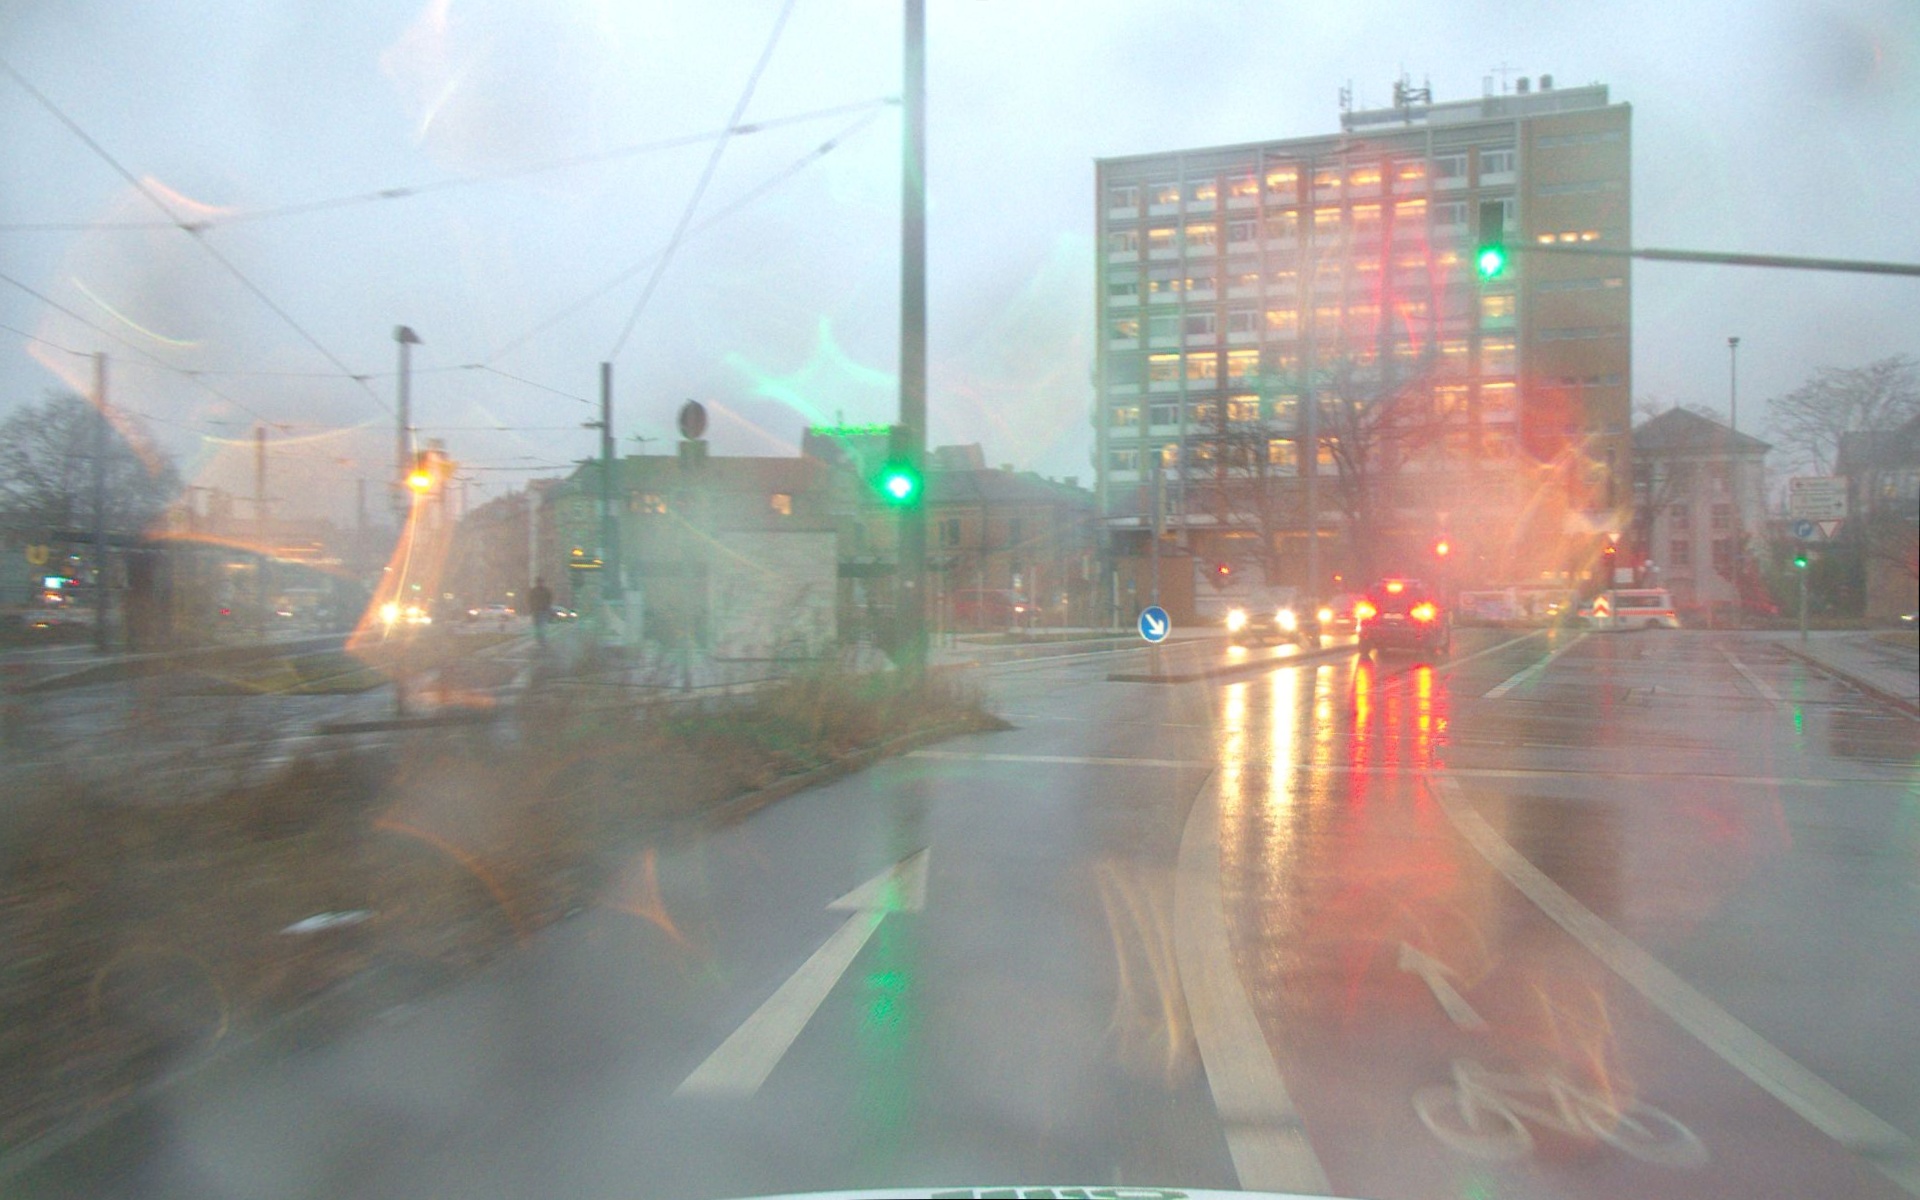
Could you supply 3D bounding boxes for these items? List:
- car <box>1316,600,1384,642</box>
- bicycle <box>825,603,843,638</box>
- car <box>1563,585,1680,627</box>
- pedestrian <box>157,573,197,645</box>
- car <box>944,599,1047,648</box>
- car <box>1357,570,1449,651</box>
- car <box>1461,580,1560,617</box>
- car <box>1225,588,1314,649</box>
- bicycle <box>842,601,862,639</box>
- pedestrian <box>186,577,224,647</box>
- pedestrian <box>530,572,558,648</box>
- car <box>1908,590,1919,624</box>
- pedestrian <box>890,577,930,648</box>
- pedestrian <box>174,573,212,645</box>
[{"bbox_3d":[14.175,0.747,59.985,1.711,1.402,4.366,-1,0,22],"label":"car"},{"bbox_3d":[-4.507,0.732,58.927,0.538,1.185,1.896,2,-1,-6],"label":"bicycle"},{"bbox_3d":[33.227,0.287,83.151,5.074,1.946,1.990,1,0,39],"label":"car"},{"bbox_3d":[-19.791,0.221,41.823,0.699,1.788,0.715,1,-1,-11],"label":"pedestrian"},{"bbox_3d":[1.793,1.187,84.404,4.944,2.321,2.246,1,-1,40],"label":"car"},{"bbox_3d":[10.971,0.231,40.806,1.614,1.850,3.999,2,1,23],"label":"car"},{"bbox_3d":[33.840,-0.117,101.657,5.443,2.060,1.996,2,-1,29],"label":"car"},{"bbox_3d":[9.177,0.505,48.798,1.718,1.691,4.530,-1,0,22],"label":"car"},{"bbox_3d":[-3.513,0.650,53.657,0.538,1.185,1.896,2,-1,-6],"label":"bicycle"},{"bbox_3d":[-20.086,0.330,44.004,0.699,1.838,0.715,1,-1,-11],"label":"pedestrian"},{"bbox_3d":[-10.411,0.252,41.349,0.593,1.845,0.822,2,-1,-16],"label":"pedestrian"},{"bbox_3d":[45.179,0.370,74.735,3.854,1.511,1.462,1,-1,39],"label":"car"},{"bbox_3d":[-1.204,0.306,40.018,0.660,1.703,0.729,1,-1,26],"label":"pedestrian"},{"bbox_3d":[-19.926,0.244,42.967,0.699,1.838,0.715,1,-1,-11],"label":"pedestrian"}]
